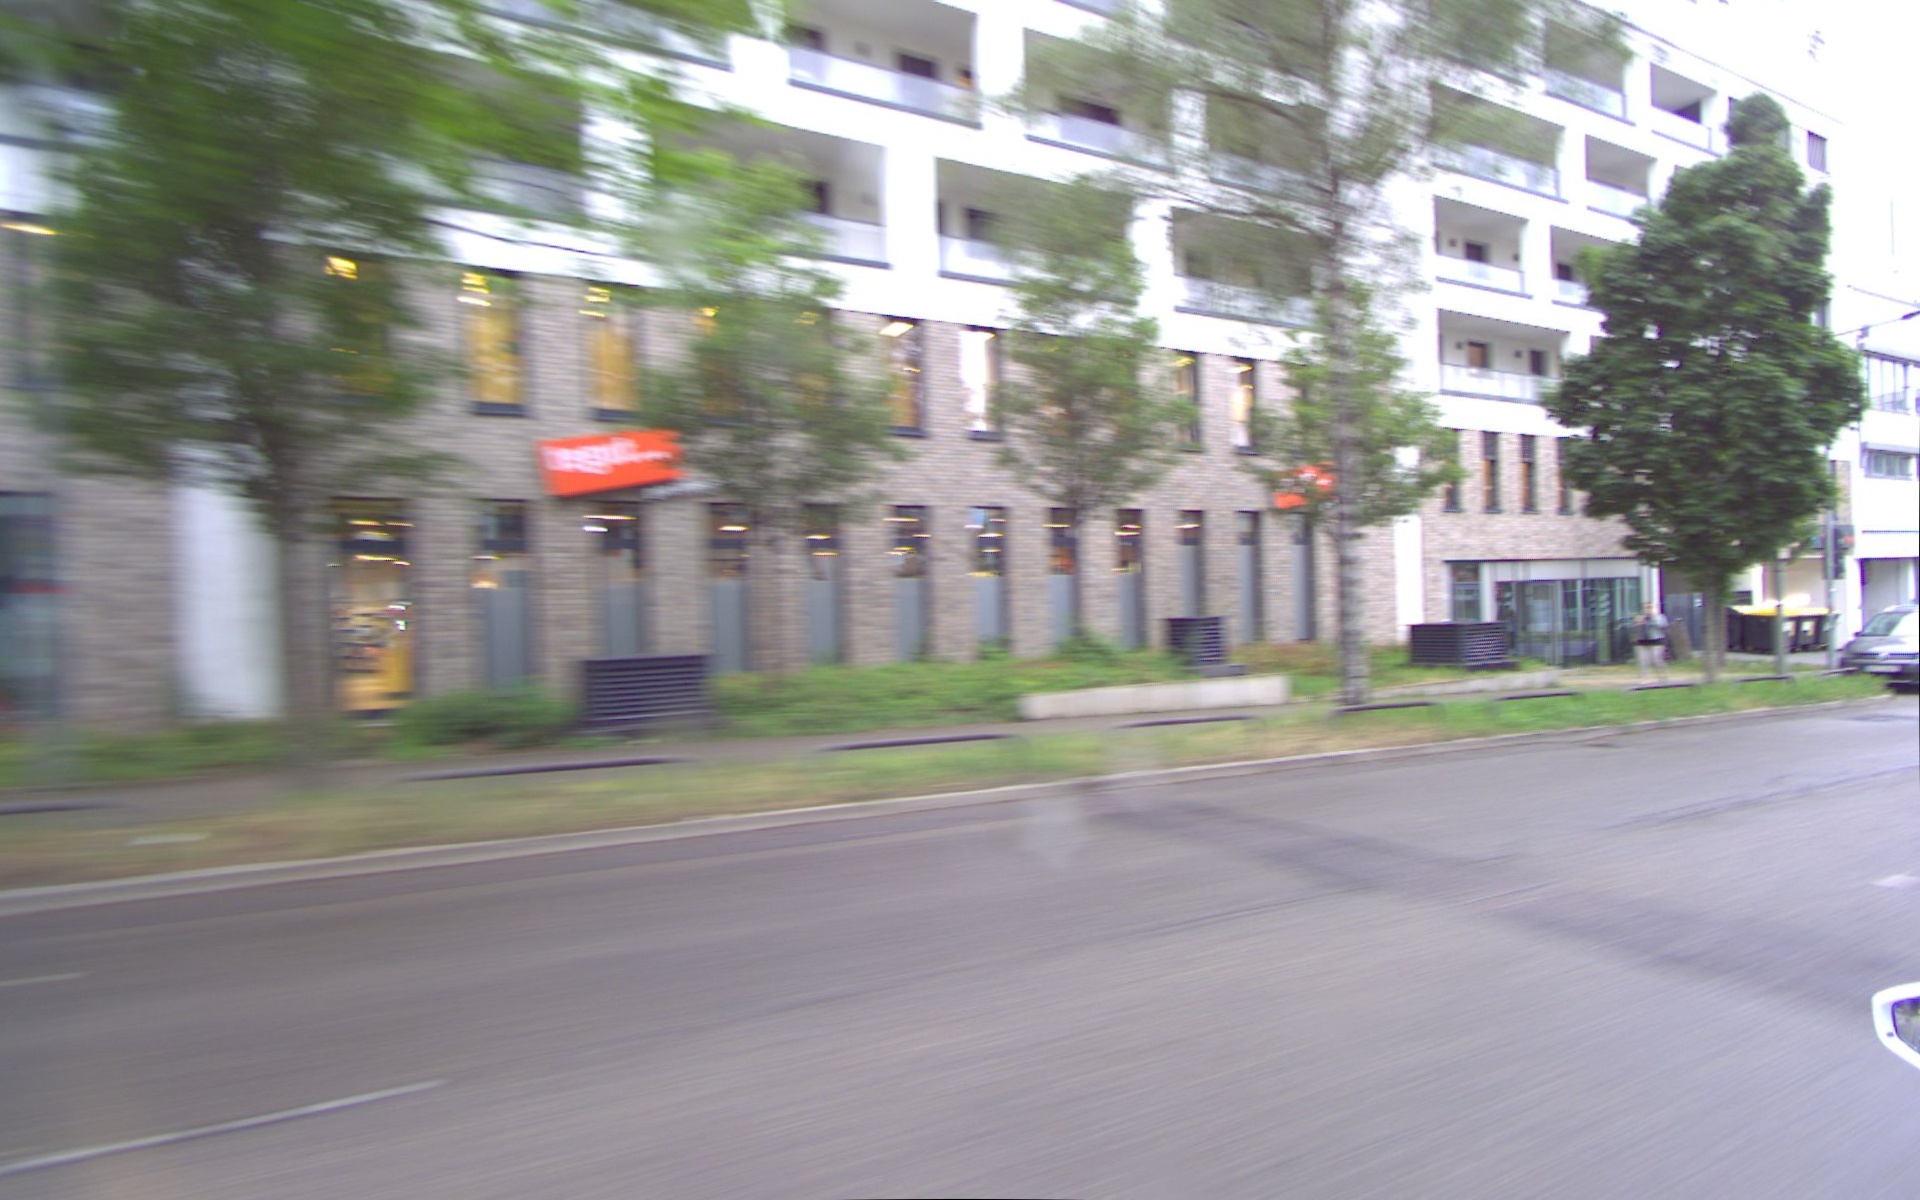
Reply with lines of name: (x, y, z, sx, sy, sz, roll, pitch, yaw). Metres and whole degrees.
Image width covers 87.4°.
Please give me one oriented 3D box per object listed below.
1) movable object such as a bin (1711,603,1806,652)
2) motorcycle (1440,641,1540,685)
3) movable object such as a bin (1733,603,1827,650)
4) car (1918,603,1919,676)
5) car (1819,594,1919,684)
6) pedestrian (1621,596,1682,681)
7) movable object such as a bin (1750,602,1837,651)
movable object such as a bin: (24.902, 0.835, 31.372, 1.276, 1.449, 2.015, 0, 1, -32)
motorcycle: (10.873, 1.276, 20.693, 0.705, 0.818, 2.006, 0, -1, -11)
movable object such as a bin: (26.103, 0.822, 32.004, 1.302, 1.442, 2.042, 0, 0, -32)
car: (23.522, 0.850, 22.631, 3.984, 1.622, 1.765, 0, -1, -30)
car: (19.186, 0.712, 19.768, 4.631, 1.630, 2.067, -1, -2, -31)
pedestrian: (14.165, 0.773, 20.572, 0.946, 1.705, 0.704, -1, 0, -34)
movable object such as a bin: (27.275, 0.878, 32.891, 1.465, 1.530, 1.786, 0, -3, -32)
